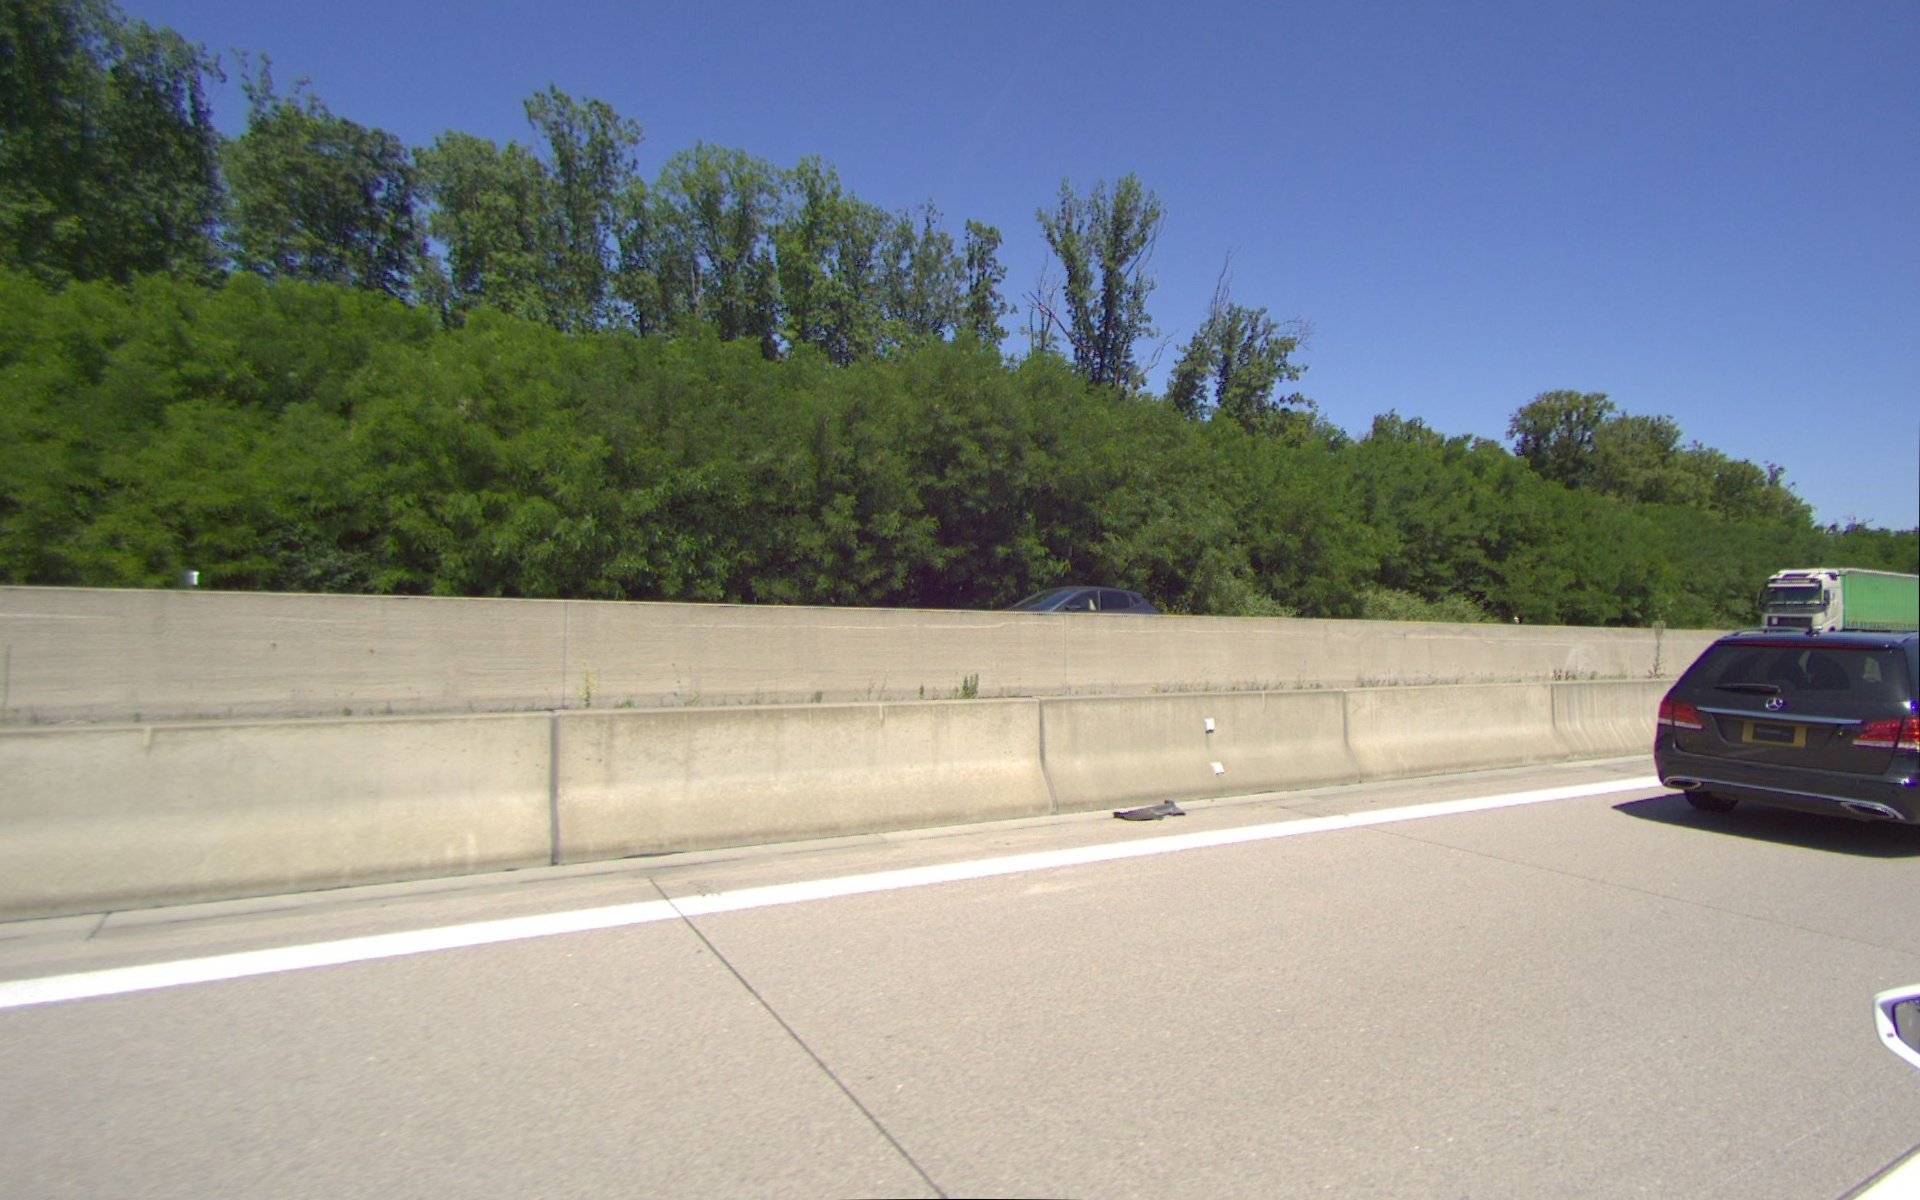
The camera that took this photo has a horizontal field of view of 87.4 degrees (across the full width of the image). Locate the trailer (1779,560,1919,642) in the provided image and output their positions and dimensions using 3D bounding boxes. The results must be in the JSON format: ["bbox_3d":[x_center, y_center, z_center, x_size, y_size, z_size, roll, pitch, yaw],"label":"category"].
[{"bbox_3d":[47.703,0.198,53.282,13.102,3.988,2.667,1,-1,-33],"label":"trailer"}]

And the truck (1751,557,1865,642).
[{"bbox_3d":[41.776,0.049,49.447,5.904,3.988,2.650,1,-1,-33],"label":"truck"}]

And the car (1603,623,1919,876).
[{"bbox_3d":[7.772,0.982,8.328,5.540,1.493,1.881,1,0,-31],"label":"car"}]

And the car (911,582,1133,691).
[{"bbox_3d":[1.182,0.664,18.745,3.836,1.858,1.692,2,-1,-30],"label":"car"}]
